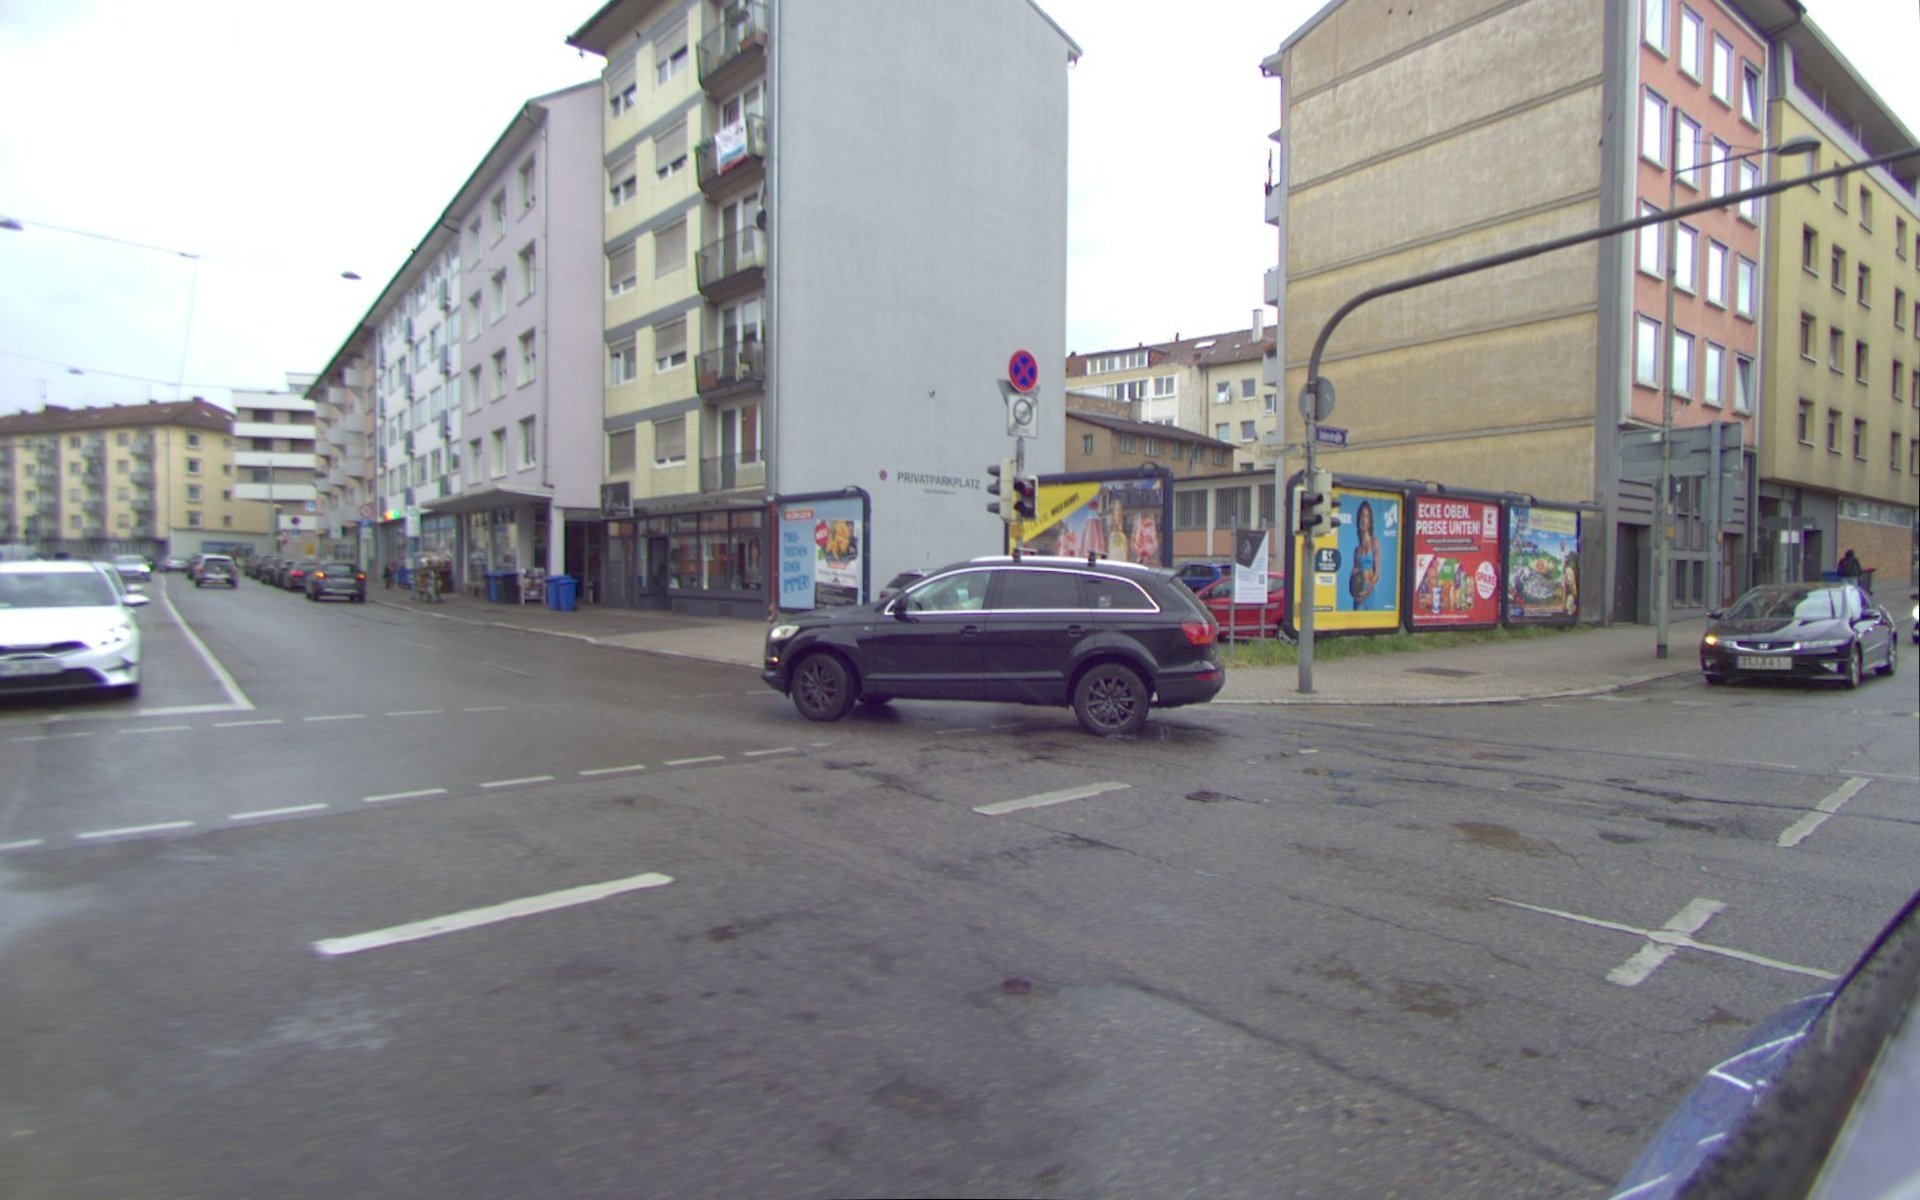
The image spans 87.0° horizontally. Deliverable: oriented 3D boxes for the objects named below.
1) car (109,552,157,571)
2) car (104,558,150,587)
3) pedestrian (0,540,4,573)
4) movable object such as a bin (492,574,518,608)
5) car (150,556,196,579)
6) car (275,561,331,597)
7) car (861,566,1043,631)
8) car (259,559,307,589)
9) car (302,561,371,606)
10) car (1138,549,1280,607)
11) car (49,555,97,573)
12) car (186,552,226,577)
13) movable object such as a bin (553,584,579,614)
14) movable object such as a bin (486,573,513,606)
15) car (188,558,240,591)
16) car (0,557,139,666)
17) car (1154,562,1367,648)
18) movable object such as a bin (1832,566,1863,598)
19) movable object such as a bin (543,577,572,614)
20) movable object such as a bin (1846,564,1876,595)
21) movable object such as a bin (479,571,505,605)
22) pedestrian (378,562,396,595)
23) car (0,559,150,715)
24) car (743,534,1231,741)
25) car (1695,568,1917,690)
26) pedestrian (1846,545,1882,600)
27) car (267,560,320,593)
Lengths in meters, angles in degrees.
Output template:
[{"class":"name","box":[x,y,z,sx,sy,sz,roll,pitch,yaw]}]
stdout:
[{"class":"car","box":[-81.731,-3.759,100.007,3.913,1.727,1.915,-1,0,20]},{"class":"car","box":[-46.040,-1.516,55.970,1.822,1.504,3.999,-1,3,-38]},{"class":"pedestrian","box":[-54.326,-2.425,56.977,0.703,1.829,0.680,-1,0,44]},{"class":"movable object such as a bin","box":[-15.619,-0.321,34.746,0.685,1.152,0.640,-1,0,-39]},{"class":"car","box":[-63.608,-2.596,81.783,3.977,1.705,1.973,-1,0,37]},{"class":"car","box":[-31.515,-1.028,48.494,1.955,1.638,4.125,-1,2,-38]},{"class":"car","box":[-0.140,-0.093,24.931,4.254,1.458,1.879,-1,2,-39]},{"class":"car","box":[-38.648,-1.524,57.772,1.955,1.638,4.124,-1,2,-38]},{"class":"car","box":[-24.278,-0.687,39.363,1.954,1.638,4.127,-1,2,-36]},{"class":"car","box":[7.925,-0.676,32.751,2.111,1.710,4.789,-1,0,-20]},{"class":"car","box":[-90.141,-3.675,102.898,3.909,1.727,1.917,-1,0,17]},{"class":"car","box":[-47.195,-2.254,63.310,1.963,1.504,3.999,-1,3,-38]},{"class":"movable object such as a bin","box":[-12.051,-0.034,30.951,0.611,0.919,0.533,-1,0,-39]},{"class":"movable object such as a bin","box":[-16.052,-0.365,35.271,0.685,1.152,0.640,-1,0,-39]},{"class":"car","box":[-36.842,-1.273,49.945,1.963,1.504,3.999,-1,3,-38]},{"class":"car","box":[-14.273,0.070,16.144,1.812,1.504,4.520,-2,3,-39]},{"class":"car","box":[6.070,0.026,20.654,2.054,1.571,3.654,-1,2,-45]},{"class":"movable object such as a bin","box":[30.836,-0.639,35.172,0.656,1.090,0.683,-2,3,-38]},{"class":"movable object such as a bin","box":[-12.508,-0.145,31.441,0.685,1.152,0.640,-1,0,-39]},{"class":"movable object such as a bin","box":[32.436,-0.755,36.420,0.656,1.090,0.683,-2,3,-38]},{"class":"movable object such as a bin","box":[-16.658,-0.432,36.042,0.685,1.201,0.706,-1,0,-39]},{"class":"pedestrian","box":[-26.339,-0.983,46.516,0.615,1.522,0.705,-1,0,-38]},{"class":"car","box":[-10.690,0.282,11.716,1.887,1.504,4.660,-2,3,-41]},{"class":"car","box":[0.342,0.299,10.846,4.825,1.893,2.020,1,1,13]},{"class":"car","box":[12.774,0.349,15.214,3.984,1.515,1.787,-3,1,-39]},{"class":"pedestrian","box":[30.342,-0.912,33.973,1.074,1.810,0.675,-1,1,-35]},{"class":"car","box":[-35.024,-1.266,53.122,1.955,1.638,4.124,-1,2,-38]}]
